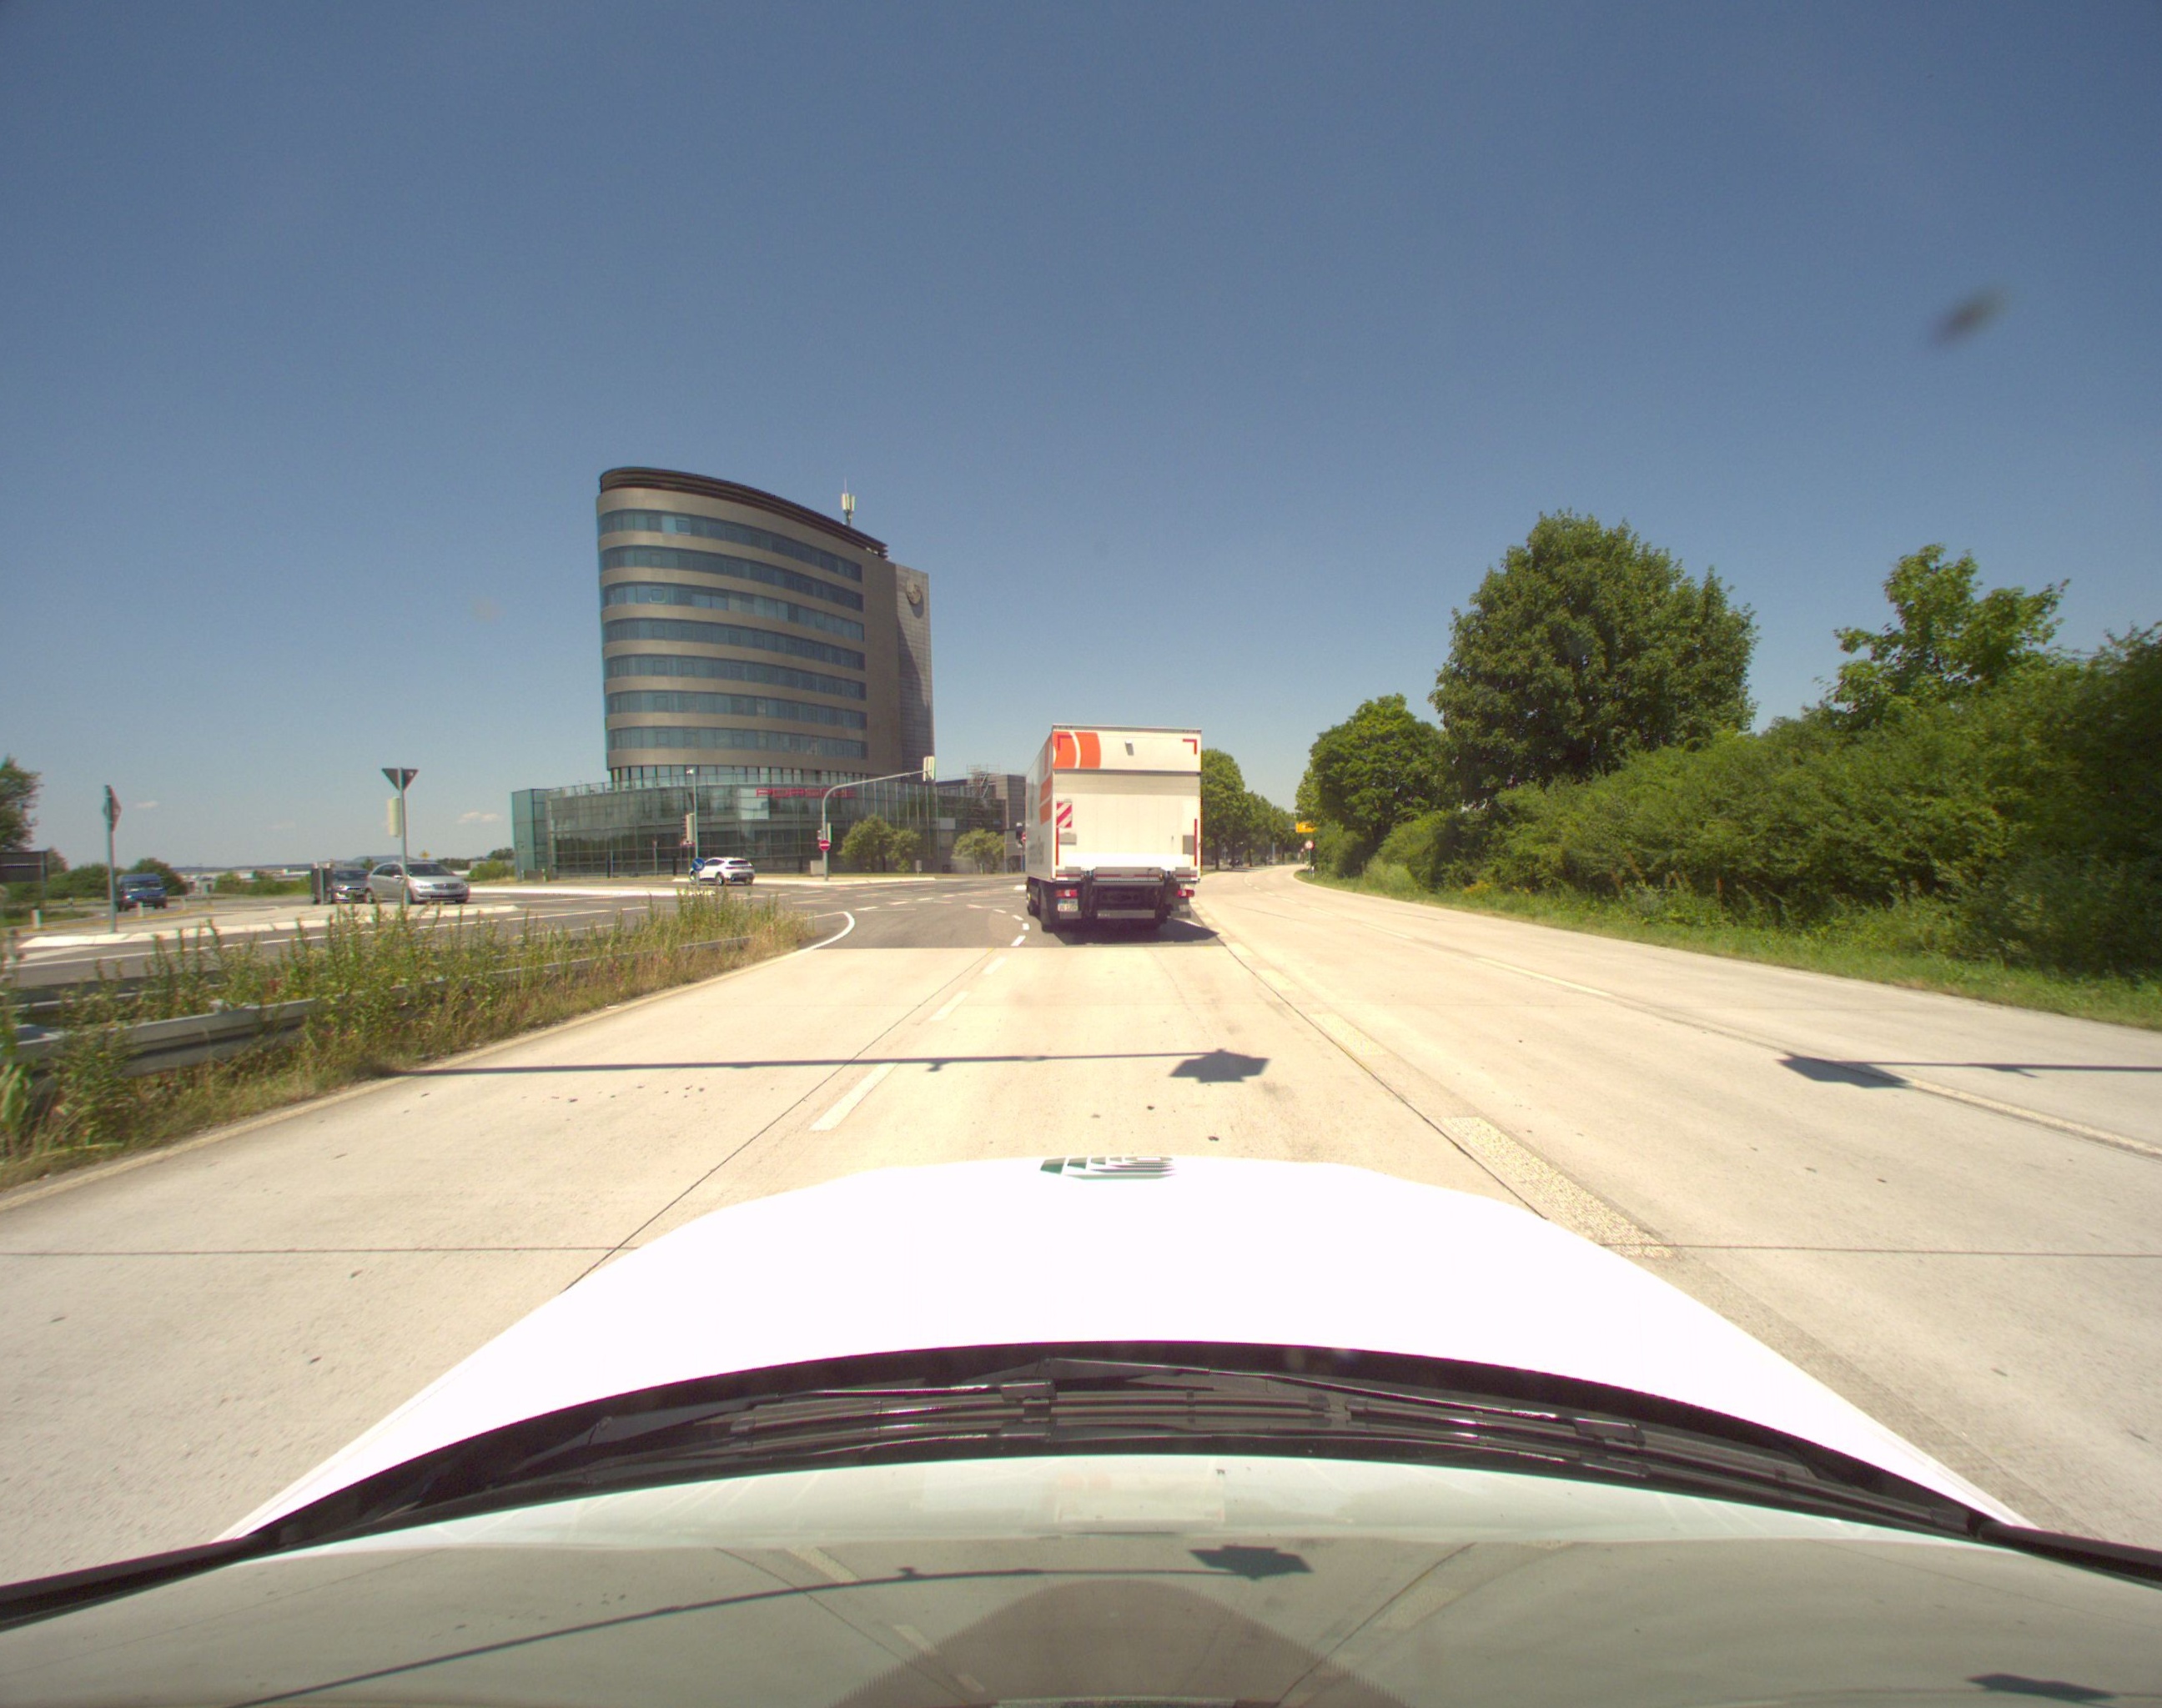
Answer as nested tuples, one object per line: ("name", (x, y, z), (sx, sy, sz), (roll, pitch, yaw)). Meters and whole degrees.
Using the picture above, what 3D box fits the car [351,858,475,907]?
("car", (-24.363, 1.046, 29.697), (4.276, 1.595, 1.787), (-3, -2, 25))

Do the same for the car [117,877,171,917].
("car", (-67.192, 3.013, 58.372), (5.820, 2.704, 2.079), (-1, -1, 37))

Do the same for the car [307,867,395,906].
("car", (-30.510, 1.363, 33.996), (4.273, 1.456, 1.708), (-3, -2, 33))

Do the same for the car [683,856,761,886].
("car", (-19.361, 0.903, 43.919), (3.949, 1.557, 1.819), (-1, -1, 29))

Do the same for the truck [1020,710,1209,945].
("truck", (0.229, -0.420, 18.177), (2.766, 3.860, 9.348), (-1, 0, -7))
